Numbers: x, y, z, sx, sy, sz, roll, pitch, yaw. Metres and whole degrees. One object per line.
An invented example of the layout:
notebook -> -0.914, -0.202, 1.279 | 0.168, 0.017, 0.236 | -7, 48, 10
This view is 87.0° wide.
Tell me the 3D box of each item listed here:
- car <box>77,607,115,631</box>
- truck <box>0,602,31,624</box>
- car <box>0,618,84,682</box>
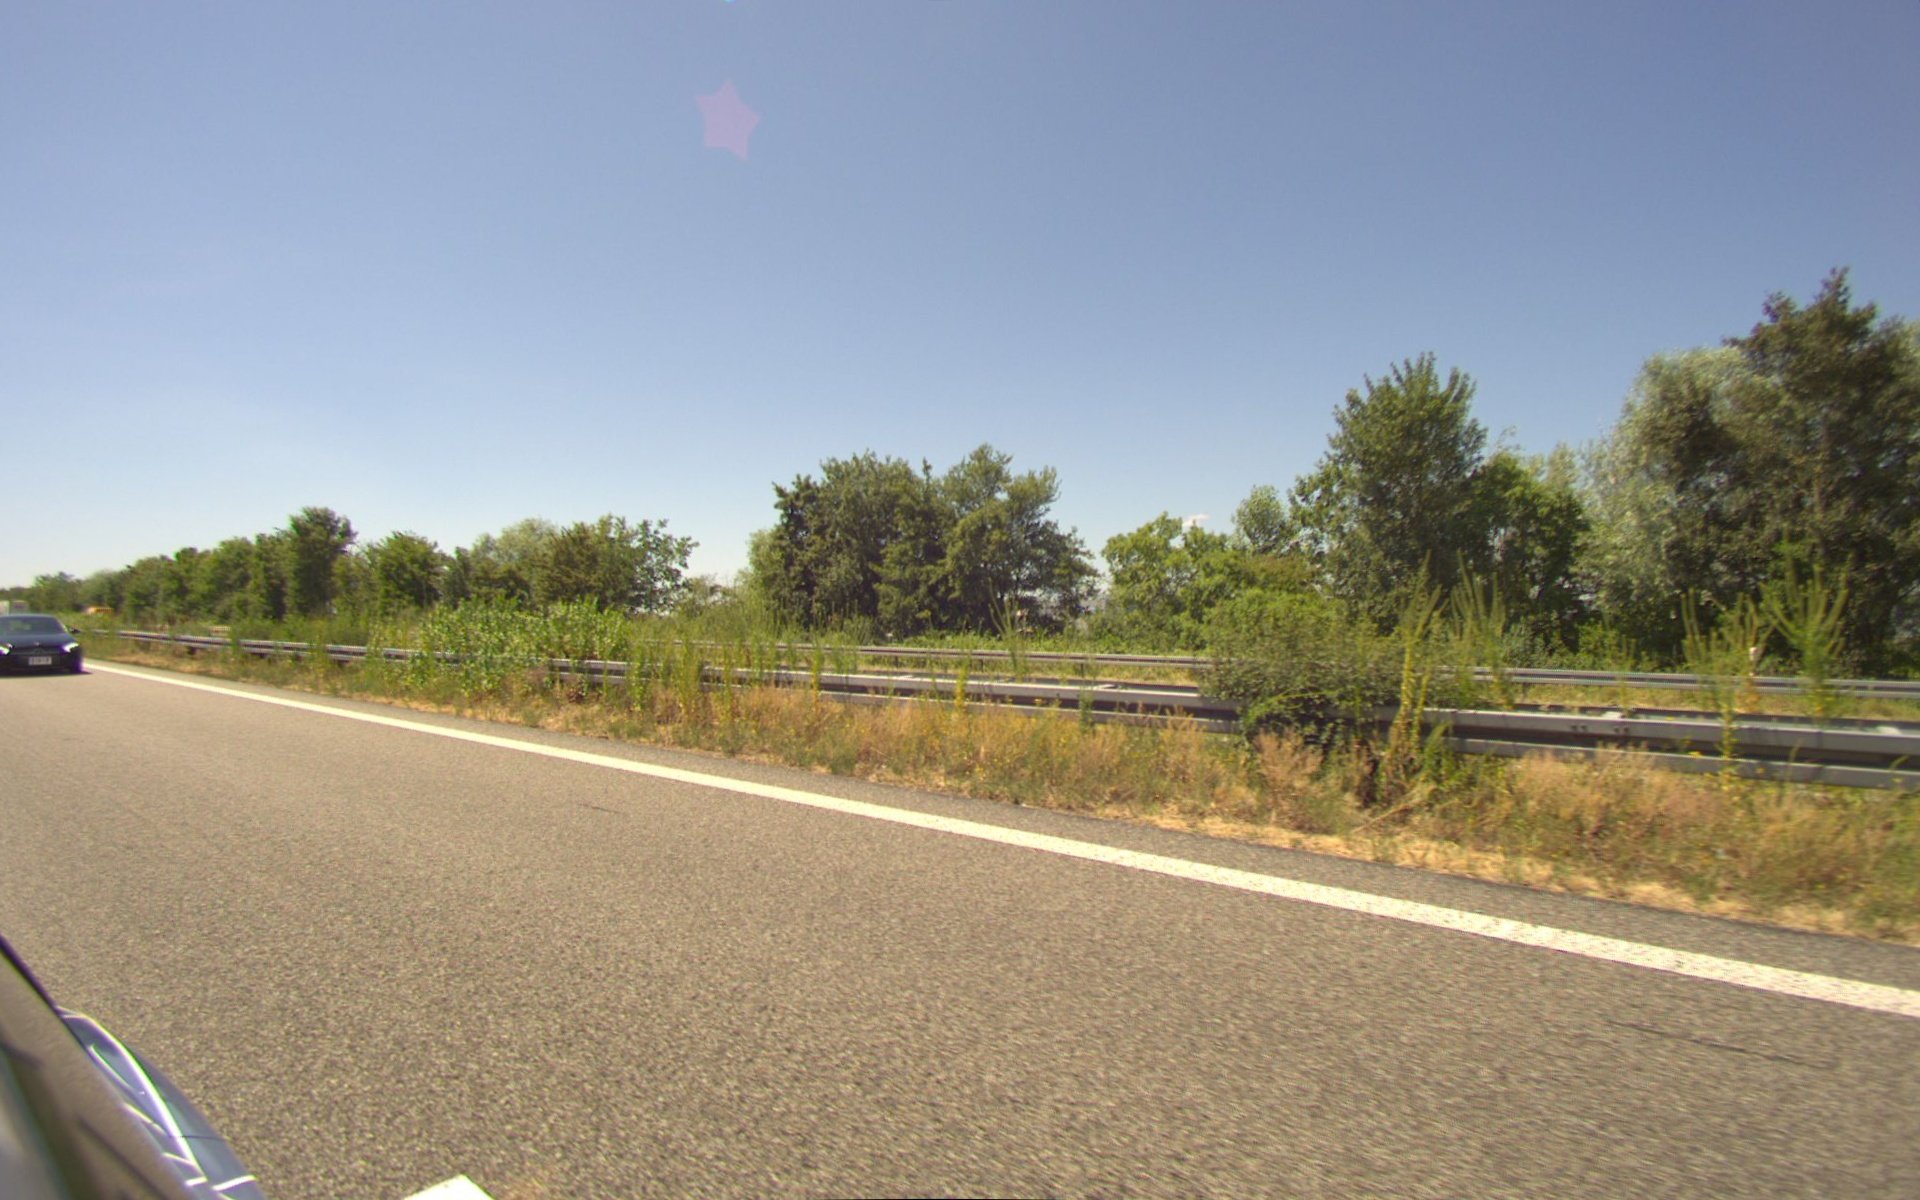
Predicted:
car -> -93.049, 2.042, 108.973 | 4.952, 2.455, 2.159 | -1, -3, 40
truck -> -150.110, 2.051, 159.740 | 10.684, 3.464, 4.069 | -1, 0, 41
car -> -22.617, 1.145, 24.365 | 4.050, 1.422, 1.773 | -1, -1, 41
